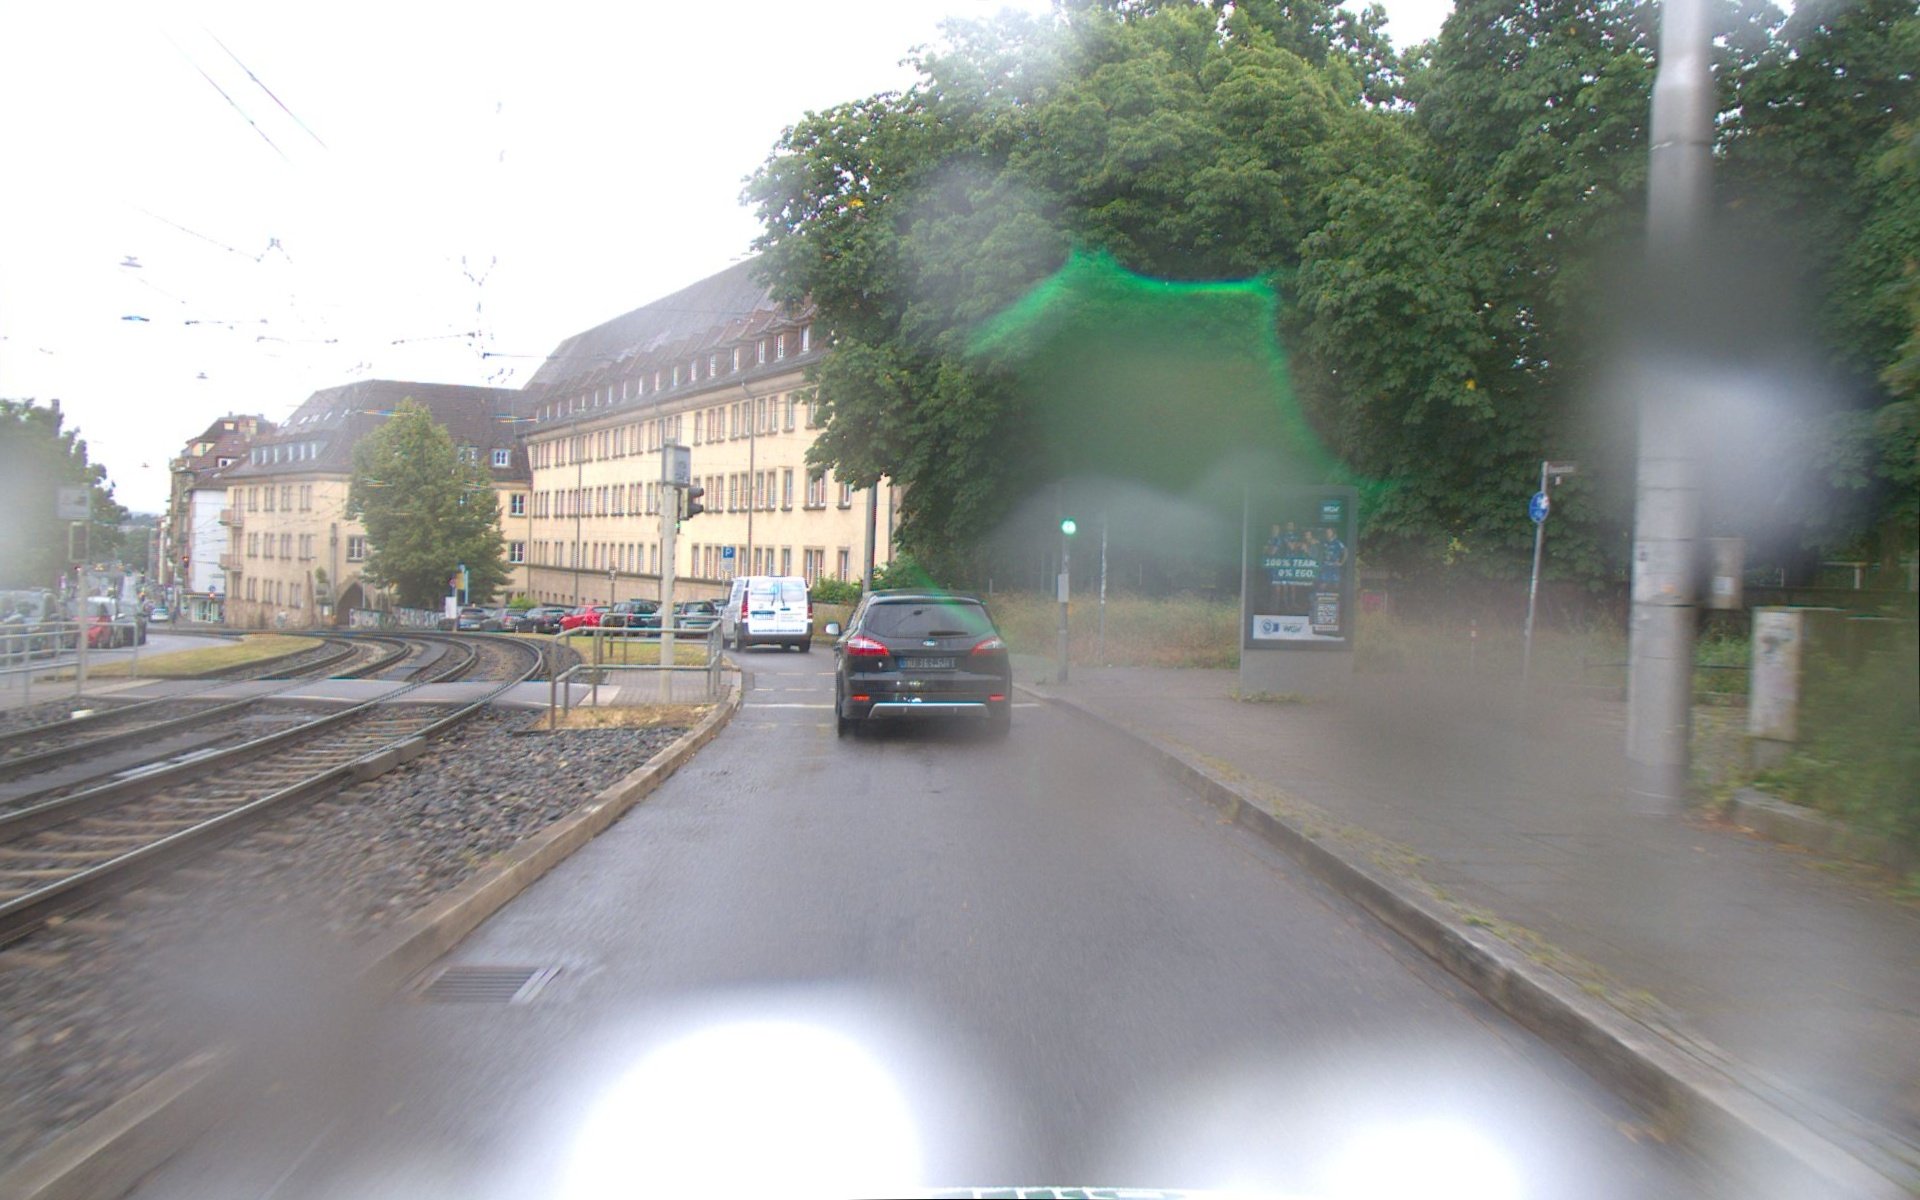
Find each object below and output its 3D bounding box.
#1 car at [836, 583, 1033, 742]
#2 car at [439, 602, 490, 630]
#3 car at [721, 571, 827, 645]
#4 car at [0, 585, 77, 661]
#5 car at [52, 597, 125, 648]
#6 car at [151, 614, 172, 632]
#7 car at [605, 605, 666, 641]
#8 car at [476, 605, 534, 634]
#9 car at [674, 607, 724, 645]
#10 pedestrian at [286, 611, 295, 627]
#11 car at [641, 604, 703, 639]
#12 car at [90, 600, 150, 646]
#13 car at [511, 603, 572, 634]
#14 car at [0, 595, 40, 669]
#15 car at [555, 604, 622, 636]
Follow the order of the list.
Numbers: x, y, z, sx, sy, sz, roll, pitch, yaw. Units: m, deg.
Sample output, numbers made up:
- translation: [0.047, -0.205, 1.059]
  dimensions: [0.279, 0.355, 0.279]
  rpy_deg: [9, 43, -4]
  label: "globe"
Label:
- translation: [-0.390, 0.589, 17.949]
  dimensions: [1.882, 1.505, 3.996]
  rpy_deg: [-1, 0, -4]
  label: "car"
- translation: [-28.341, 0.926, 94.471]
  dimensions: [1.651, 1.551, 4.060]
  rpy_deg: [-1, 0, -34]
  label: "car"
- translation: [-4.826, 0.190, 42.437]
  dimensions: [2.101, 1.776, 4.201]
  rpy_deg: [-1, 0, -15]
  label: "car"
- translation: [-24.496, 0.599, 43.570]
  dimensions: [1.558, 1.892, 4.306]
  rpy_deg: [2, -1, -20]
  label: "car"
- translation: [-27.798, 0.715, 52.806]
  dimensions: [1.446, 1.558, 2.917]
  rpy_deg: [2, -1, -17]
  label: "car"
- translation: [-84.445, 2.409, 174.949]
  dimensions: [1.969, 1.803, 3.966]
  rpy_deg: [0, -1, -26]
  label: "car"
- translation: [-14.984, 1.048, 76.241]
  dimensions: [1.647, 1.600, 3.819]
  rpy_deg: [-1, 0, -28]
  label: "car"
- translation: [-24.691, 1.052, 89.734]
  dimensions: [1.653, 1.502, 4.055]
  rpy_deg: [-1, 0, -37]
  label: "car"
- translation: [-10.707, 1.052, 67.754]
  dimensions: [1.574, 1.491, 2.706]
  rpy_deg: [-1, 0, -19]
  label: "car"
- translation: [-53.457, 1.509, 132.082]
  dimensions: [0.501, 1.338, 0.504]
  rpy_deg: [0, -1, -37]
  label: "pedestrian"
- translation: [-12.429, 0.918, 71.295]
  dimensions: [1.519, 1.441, 3.608]
  rpy_deg: [-1, 0, -29]
  label: "car"
- translation: [-31.647, 0.861, 62.393]
  dimensions: [1.708, 1.673, 4.499]
  rpy_deg: [1, -1, -23]
  label: "car"
- translation: [-21.532, 0.966, 84.932]
  dimensions: [1.651, 1.502, 4.404]
  rpy_deg: [-1, 0, -34]
  label: "car"
- translation: [-22.869, 0.693, 38.321]
  dimensions: [1.964, 1.633, 4.190]
  rpy_deg: [3, -2, -20]
  label: "car"
- translation: [-18.144, 0.978, 80.753]
  dimensions: [1.654, 1.502, 4.010]
  rpy_deg: [1, -1, -38]
  label: "car"
